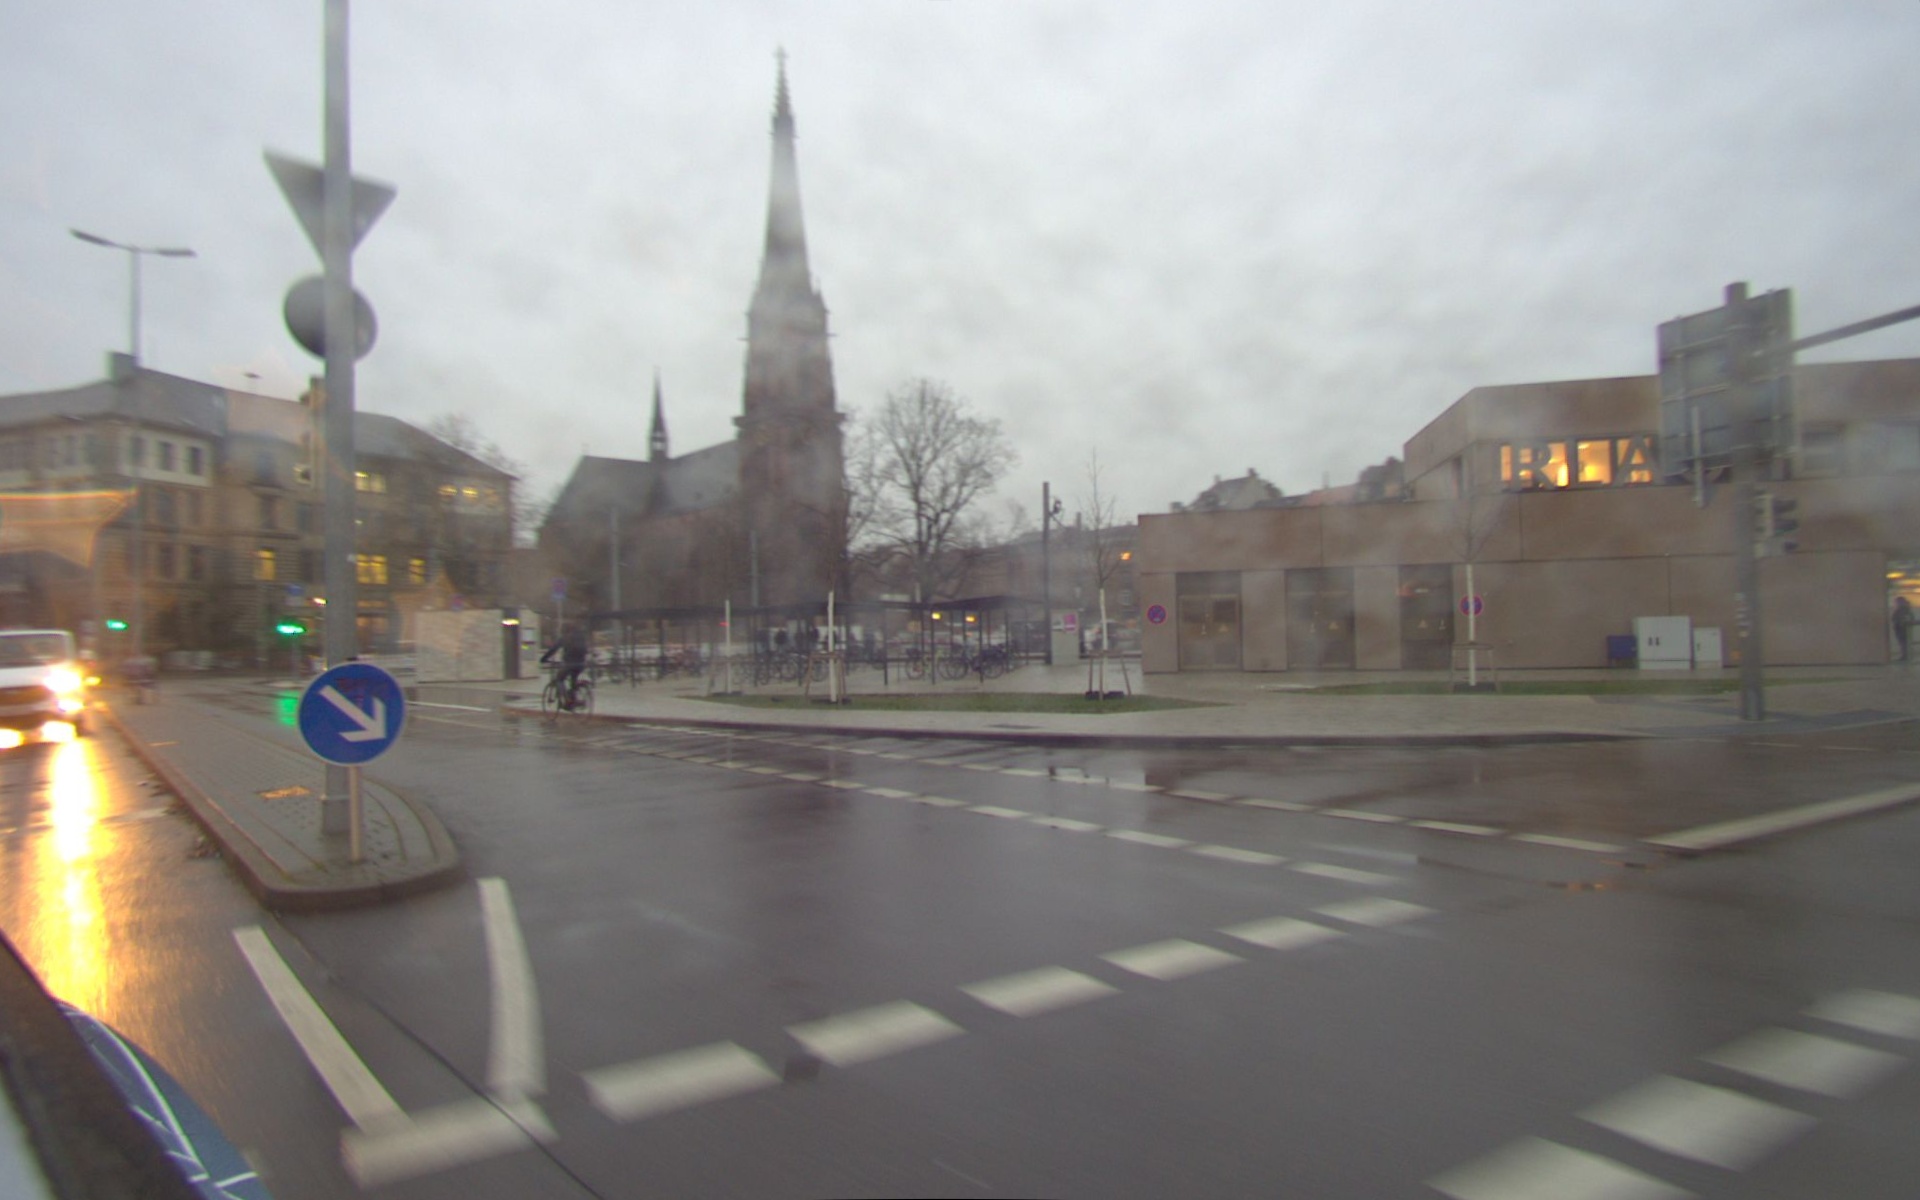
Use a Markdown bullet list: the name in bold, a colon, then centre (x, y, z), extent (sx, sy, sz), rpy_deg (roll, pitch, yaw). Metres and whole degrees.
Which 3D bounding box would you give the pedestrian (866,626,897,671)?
- **pedestrian**: centre (-3.137, 1.935, 40.610), extent (0.804, 1.693, 0.849), rpy_deg (-5, 3, -42)

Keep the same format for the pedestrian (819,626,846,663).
- **pedestrian**: centre (-6.707, 2.311, 53.111), extent (1.020, 1.864, 0.849), rpy_deg (-3, -1, -42)

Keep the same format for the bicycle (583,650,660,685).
- **bicycle**: centre (-12.103, 2.415, 36.175), extent (2.727, 1.113, 0.643), rpy_deg (-4, -1, 17)

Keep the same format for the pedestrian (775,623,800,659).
- **pedestrian**: centre (-9.187, 2.181, 53.833), extent (1.019, 1.864, 0.849), rpy_deg (1, -3, -42)

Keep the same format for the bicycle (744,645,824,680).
- **bicycle**: centre (-6.215, 2.214, 35.770), extent (2.718, 1.113, 0.645), rpy_deg (-2, 0, 8)

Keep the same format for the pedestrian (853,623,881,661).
- **pedestrian**: centre (-4.790, 2.140, 51.892), extent (1.020, 1.864, 0.849), rpy_deg (-3, -1, -42)

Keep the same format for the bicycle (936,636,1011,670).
- **bicycle**: centre (0.498, 2.019, 38.479), extent (2.727, 1.113, 0.643), rpy_deg (-4, -1, 17)

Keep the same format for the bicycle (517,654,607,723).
- **bicycle**: centre (-7.181, 1.573, 18.227), extent (1.869, 1.185, 0.616), rpy_deg (-3, -4, 36)

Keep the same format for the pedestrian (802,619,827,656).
- **pedestrian**: centre (-7.582, 1.960, 52.797), extent (1.019, 1.864, 0.803), rpy_deg (1, -3, -42)

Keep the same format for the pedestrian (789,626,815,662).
- **pedestrian**: centre (-8.319, 2.335, 53.392), extent (1.019, 1.864, 0.849), rpy_deg (1, -3, -42)

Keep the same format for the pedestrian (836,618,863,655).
- **pedestrian**: centre (-5.758, 1.902, 52.691), extent (1.020, 1.864, 0.849), rpy_deg (-3, -1, -43)

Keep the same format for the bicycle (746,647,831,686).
- **bicycle**: centre (-5.631, 2.170, 33.180), extent (2.727, 1.113, 0.643), rpy_deg (-4, -1, 17)

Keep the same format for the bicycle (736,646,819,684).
- **bicycle**: centre (-6.308, 2.252, 34.995), extent (2.718, 1.113, 0.645), rpy_deg (-4, -1, 7)

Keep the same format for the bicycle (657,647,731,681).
- **bicycle**: centre (-10.060, 2.429, 38.296), extent (2.727, 1.113, 0.643), rpy_deg (-4, -1, 17)

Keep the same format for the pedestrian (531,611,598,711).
- **pedestrian**: centre (-7.112, 1.093, 18.216), extent (0.980, 1.747, 0.708), rpy_deg (-3, -4, 36)

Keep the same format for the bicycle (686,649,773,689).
- **bicycle**: centre (-7.391, 2.217, 32.415), extent (2.727, 1.113, 0.643), rpy_deg (-4, -1, 17)

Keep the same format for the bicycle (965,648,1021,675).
- **bicycle**: centre (1.148, 2.130, 35.267), extent (1.845, 0.878, 0.604), rpy_deg (-2, -3, 13)

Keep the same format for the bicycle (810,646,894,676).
- **bicycle**: centre (-4.192, 2.361, 39.222), extent (3.162, 1.058, 0.792), rpy_deg (-2, -2, 13)

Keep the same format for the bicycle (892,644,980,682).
- **bicycle**: centre (-0.767, 2.015, 32.454), extent (2.720, 1.113, 0.606), rpy_deg (-2, 0, 10)

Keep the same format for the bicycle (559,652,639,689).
- **bicycle**: centre (-12.509, 2.434, 35.061), extent (2.727, 1.113, 0.643), rpy_deg (-4, -1, 17)

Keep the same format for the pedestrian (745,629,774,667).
- **pedestrian**: centre (-10.525, 2.525, 53.157), extent (1.034, 1.863, 0.849), rpy_deg (-6, 1, -42)

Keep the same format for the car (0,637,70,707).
- **car**: centre (-37.944, 2.889, 41.124), extent (2.314, 2.536, 5.871), rpy_deg (-3, -1, -44)

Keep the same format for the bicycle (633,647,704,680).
- **bicycle**: centre (-11.500, 2.502, 39.932), extent (2.724, 1.113, 0.644), rpy_deg (-4, -1, 14)

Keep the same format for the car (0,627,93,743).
- **car**: centre (-18.201, 1.624, 19.486), extent (2.106, 1.935, 5.023), rpy_deg (-3, -1, -42)

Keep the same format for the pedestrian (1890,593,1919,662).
- **pedestrian**: centre (24.992, 0.711, 26.515), extent (0.819, 1.781, 0.664), rpy_deg (0, -3, -34)
